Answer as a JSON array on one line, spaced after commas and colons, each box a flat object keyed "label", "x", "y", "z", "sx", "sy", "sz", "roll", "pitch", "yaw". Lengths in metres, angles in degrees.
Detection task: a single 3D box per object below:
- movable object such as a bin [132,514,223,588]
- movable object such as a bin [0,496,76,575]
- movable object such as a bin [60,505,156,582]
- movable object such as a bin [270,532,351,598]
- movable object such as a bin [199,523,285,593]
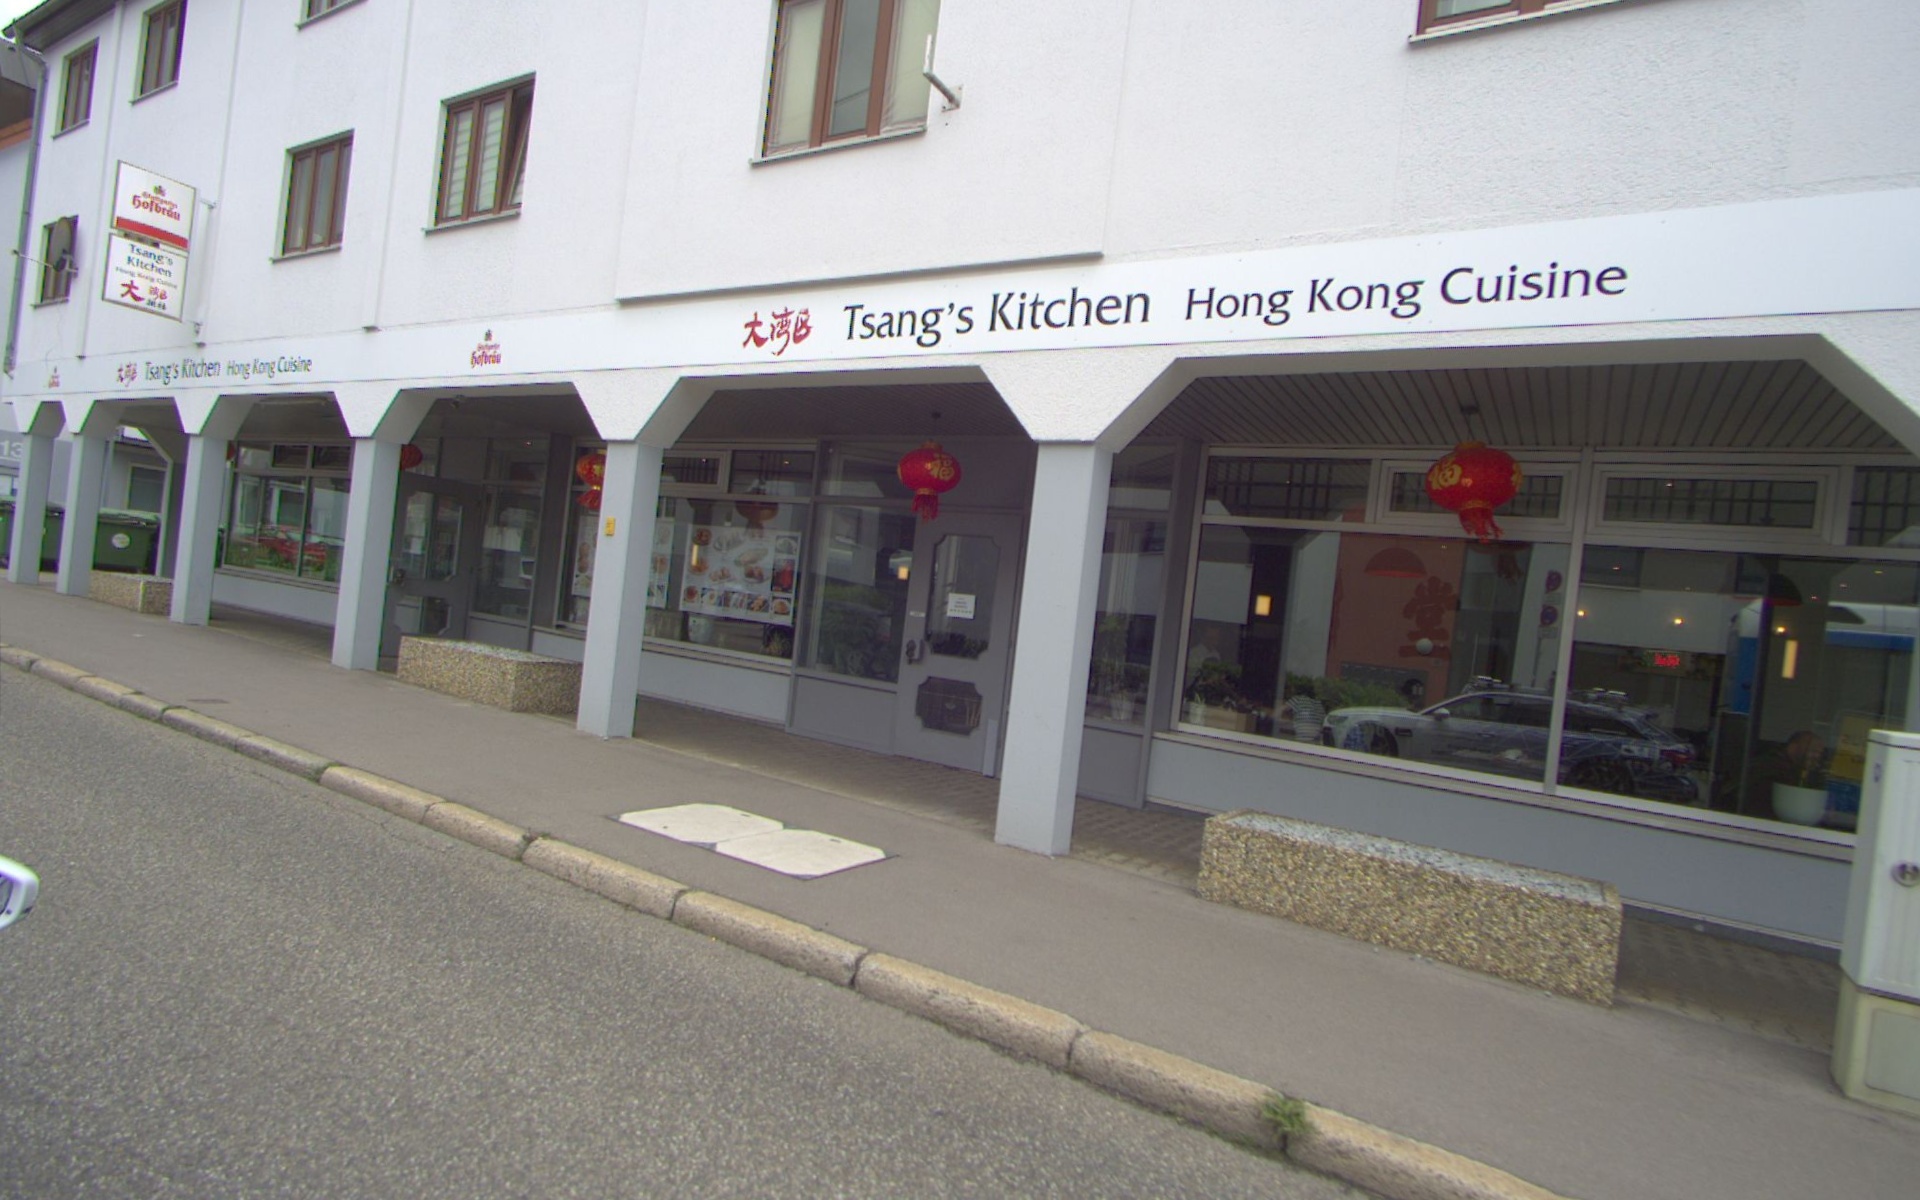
[{"label": "movable object such as a bin", "x": -17.690, "y": -1.105, "z": 22.751, "sx": 1.239, "sy": 1.434, "sz": 1.210, "roll": 7, "pitch": 0, "yaw": 35}, {"label": "movable object such as a bin", "x": -19.077, "y": -1.329, "z": 20.534, "sx": 1.239, "sy": 1.434, "sz": 1.210, "roll": 7, "pitch": 0, "yaw": 35}, {"label": "movable object such as a bin", "x": -18.362, "y": -1.215, "z": 21.691, "sx": 1.239, "sy": 1.434, "sz": 1.210, "roll": 7, "pitch": 0, "yaw": 35}, {"label": "movable object such as a bin", "x": -16.180, "y": -0.867, "z": 25.080, "sx": 1.239, "sy": 1.434, "sz": 1.210, "roll": 7, "pitch": 0, "yaw": 35}, {"label": "movable object such as a bin", "x": -17.036, "y": -0.997, "z": 23.867, "sx": 1.239, "sy": 1.434, "sz": 1.210, "roll": 7, "pitch": 0, "yaw": 35}]
